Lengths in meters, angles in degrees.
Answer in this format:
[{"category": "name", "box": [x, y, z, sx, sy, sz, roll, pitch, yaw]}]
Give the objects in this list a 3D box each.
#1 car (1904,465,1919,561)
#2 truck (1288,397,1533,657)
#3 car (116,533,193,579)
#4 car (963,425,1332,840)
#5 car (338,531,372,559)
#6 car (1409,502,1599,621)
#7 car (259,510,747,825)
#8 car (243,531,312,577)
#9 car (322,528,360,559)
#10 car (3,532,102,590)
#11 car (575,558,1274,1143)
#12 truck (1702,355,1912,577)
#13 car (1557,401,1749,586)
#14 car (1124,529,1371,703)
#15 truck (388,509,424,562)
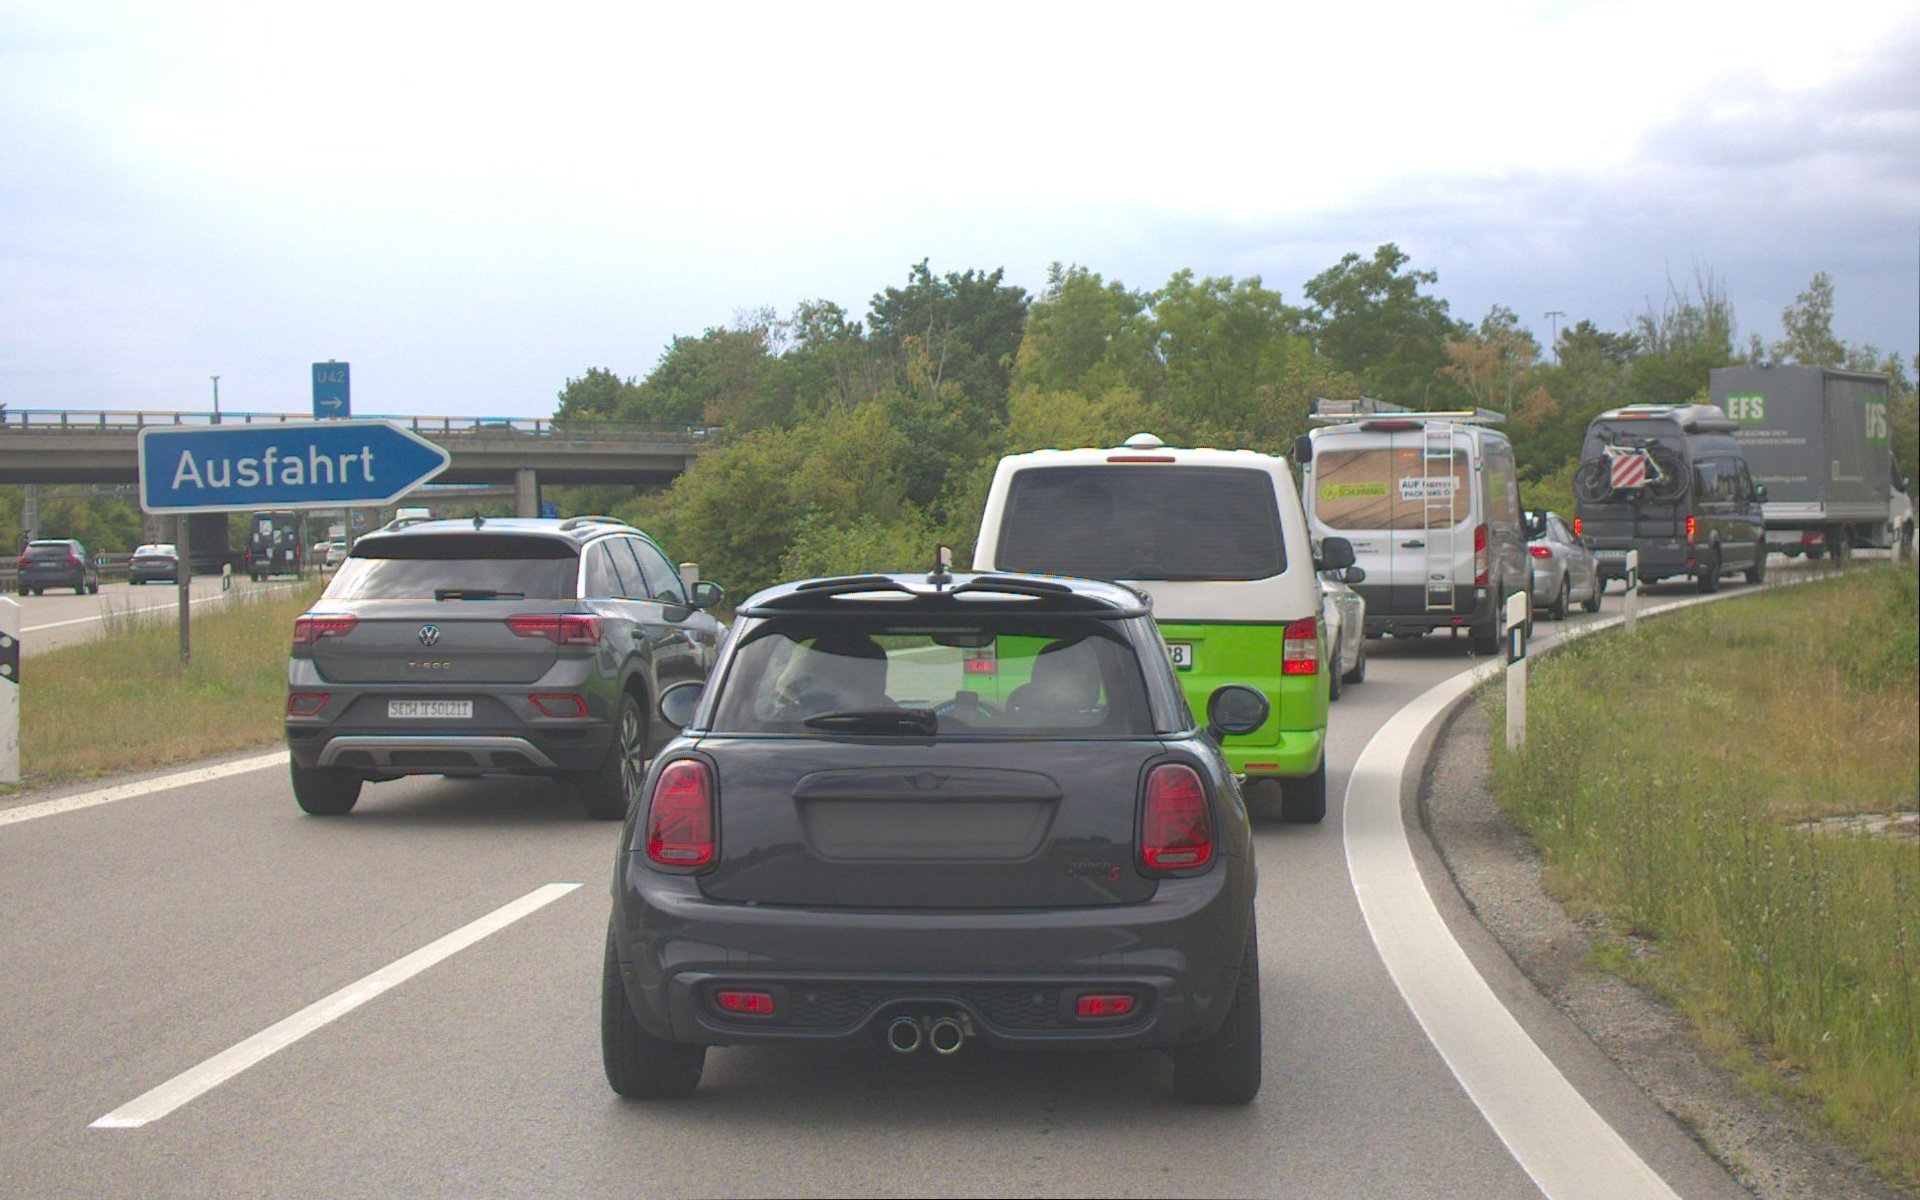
[{"category": "car", "box": [21.739, -1.811, 72.939, 1.998, 2.007, 3.992, 1, 1, 36]}, {"category": "truck", "box": [5.040, -0.830, 37.839, 2.179, 2.649, 5.106, 0, 2, 13]}, {"category": "car", "box": [-29.933, -1.655, 127.821, 2.159, 1.665, 4.307, -1, 1, -5]}, {"category": "car", "box": [1.087, 0.109, 18.712, 1.784, 2.007, 3.999, 0, 1, 5]}, {"category": "car", "box": [-43.143, -3.889, 245.170, 1.993, 1.961, 4.001, 1, 0, -5]}, {"category": "car", "box": [7.262, -0.529, 45.609, 1.868, 1.504, 3.997, 0, 1, 18]}, {"category": "car", "box": [-2.388, 0.317, 18.975, 1.796, 1.550, 3.960, 0, 0, 6]}, {"category": "car", "box": [-25.881, -1.758, 130.493, 2.095, 1.665, 4.307, -1, 1, -5]}, {"category": "car", "box": [-39.779, -3.605, 221.027, 1.993, 1.961, 4.001, 1, 0, -5]}, {"category": "car", "box": [-27.034, -1.178, 102.512, 2.095, 1.665, 4.307, -1, 1, -5]}, {"category": "car", "box": [-0.044, 0.597, 10.367, 1.727, 1.409, 3.725, 0, 1, 1]}, {"category": "truck", "box": [15.812, -2.399, 63.912, 2.232, 3.893, 6.006, 1, 0, 29]}, {"category": "car", "box": [10.906, -1.665, 53.914, 2.107, 2.786, 3.995, 1, 2, 24]}, {"category": "car", "box": [2.547, 0.094, 29.705, 1.763, 1.394, 3.724, 0, 1, 10]}, {"category": "truck", "box": [-37.028, -4.298, 229.761, 2.145, 3.495, 4.001, 1, 0, -6]}]
